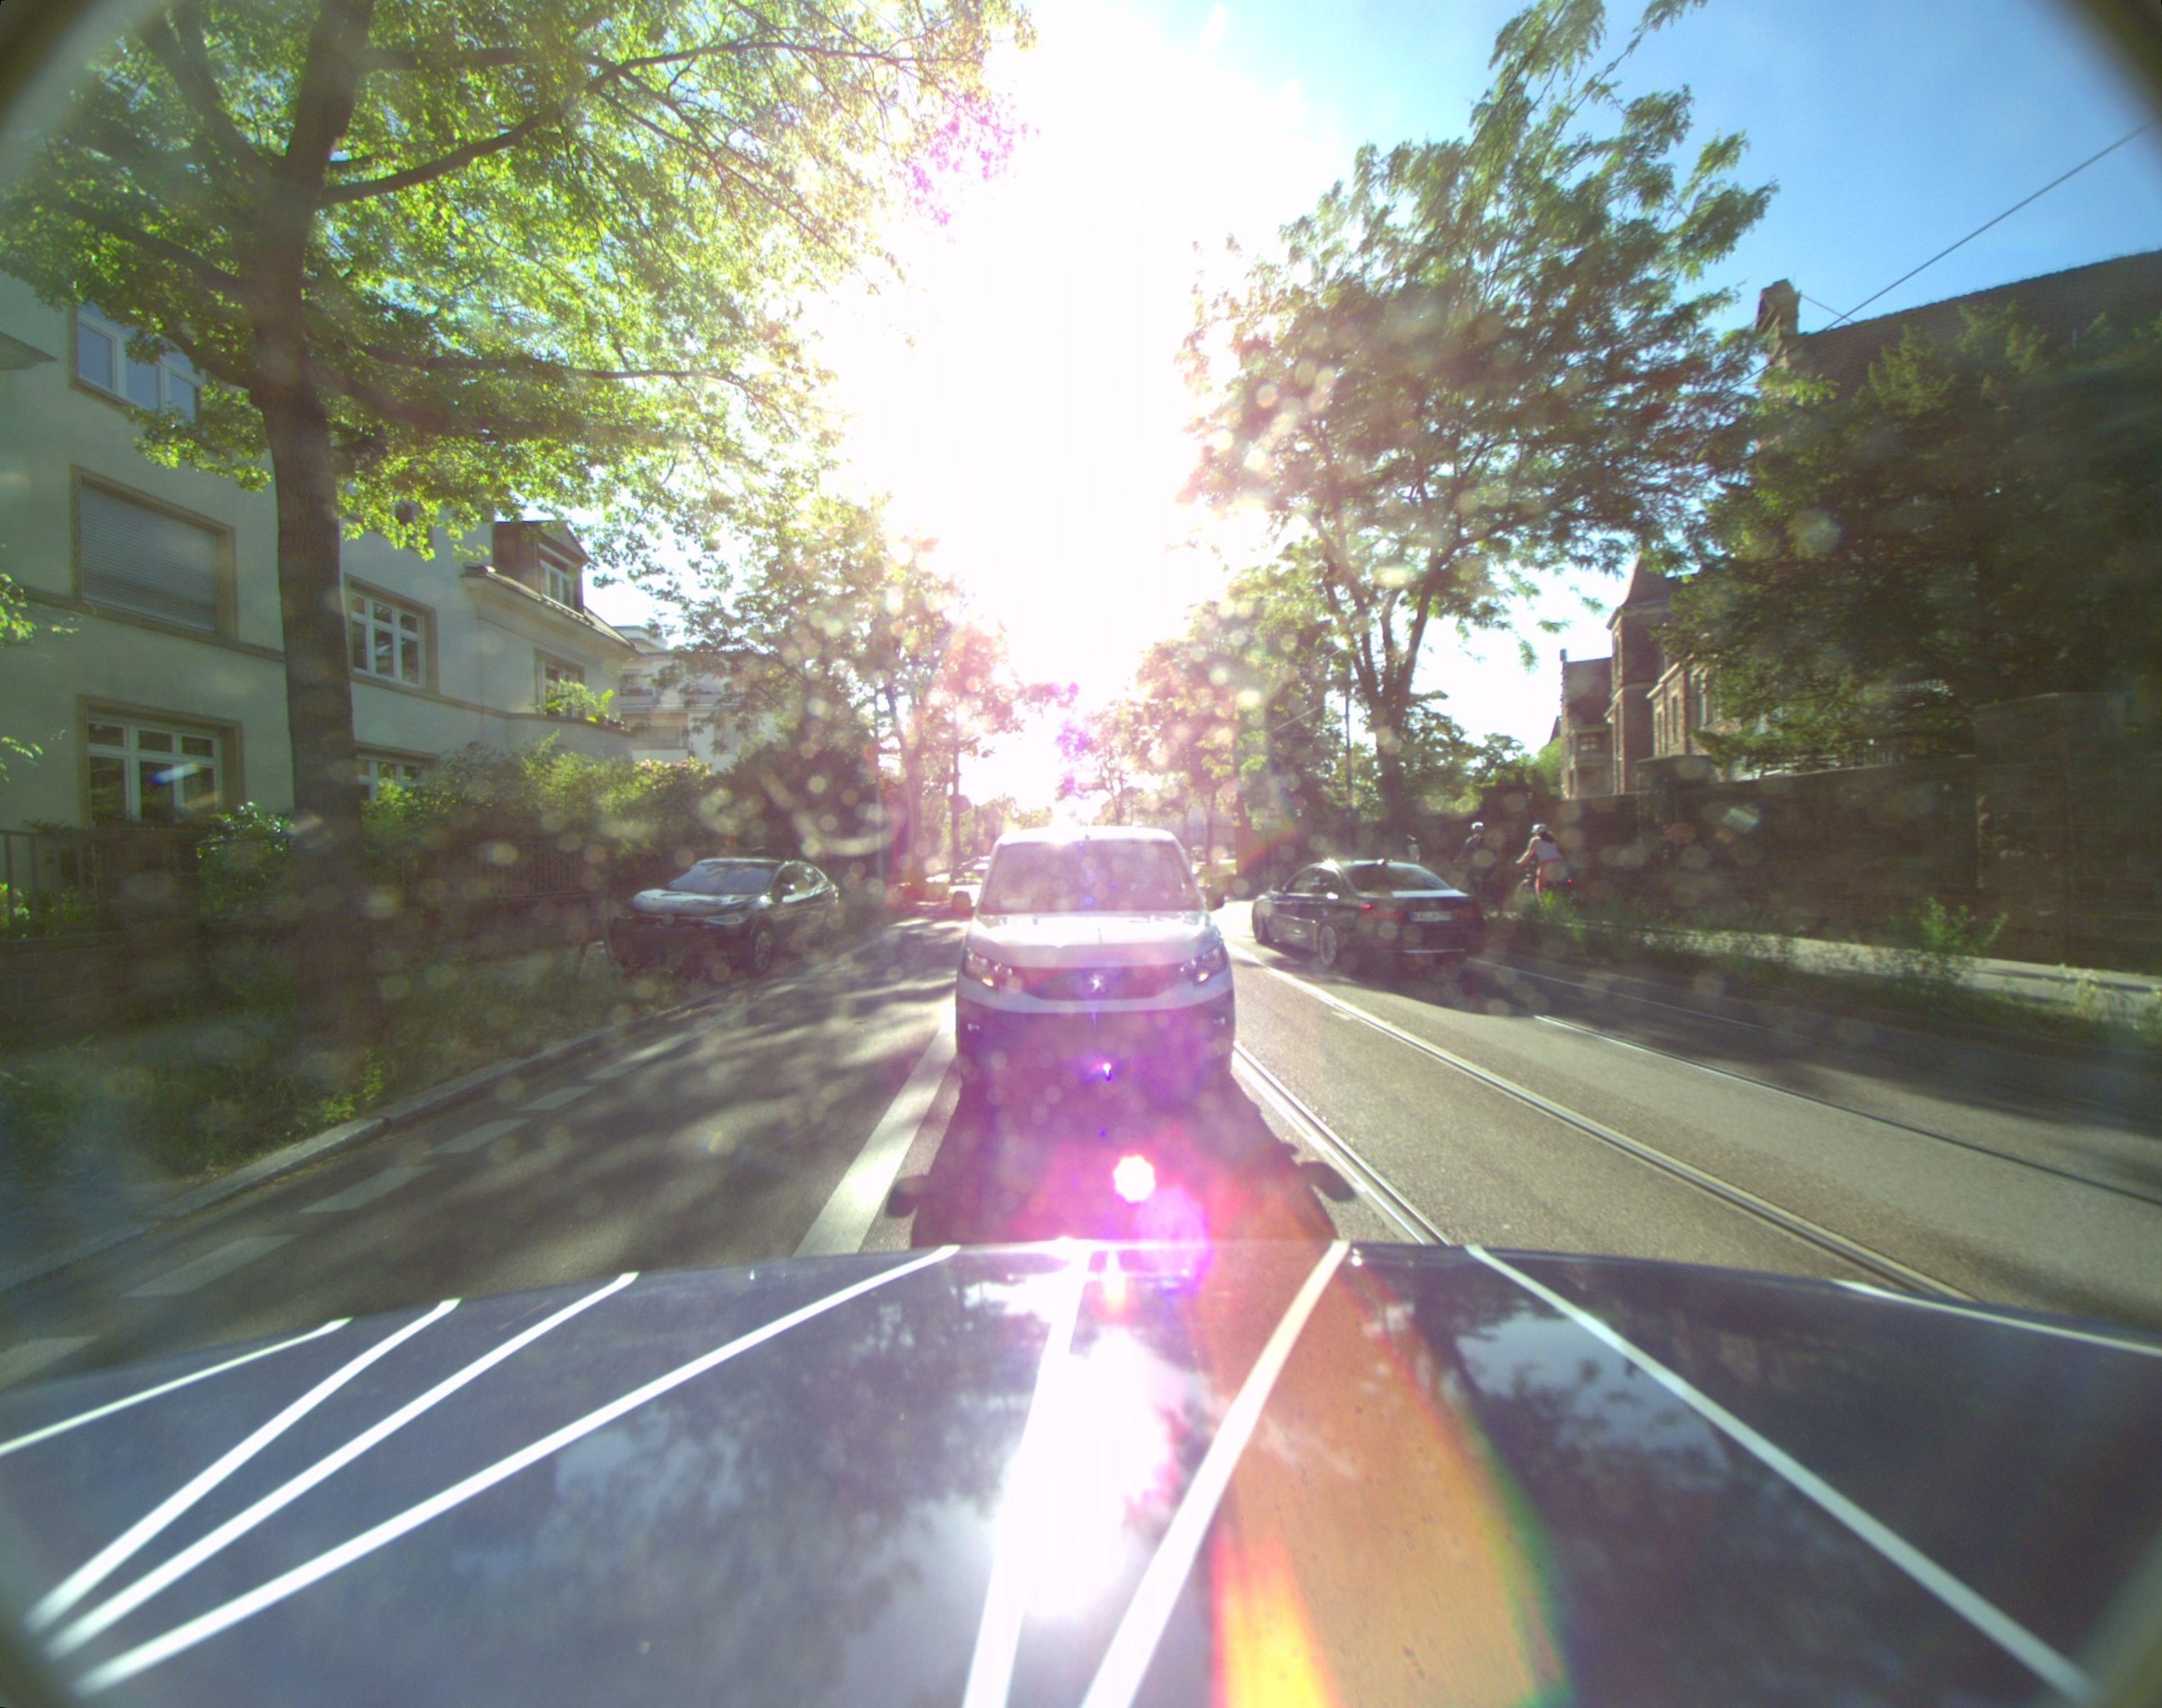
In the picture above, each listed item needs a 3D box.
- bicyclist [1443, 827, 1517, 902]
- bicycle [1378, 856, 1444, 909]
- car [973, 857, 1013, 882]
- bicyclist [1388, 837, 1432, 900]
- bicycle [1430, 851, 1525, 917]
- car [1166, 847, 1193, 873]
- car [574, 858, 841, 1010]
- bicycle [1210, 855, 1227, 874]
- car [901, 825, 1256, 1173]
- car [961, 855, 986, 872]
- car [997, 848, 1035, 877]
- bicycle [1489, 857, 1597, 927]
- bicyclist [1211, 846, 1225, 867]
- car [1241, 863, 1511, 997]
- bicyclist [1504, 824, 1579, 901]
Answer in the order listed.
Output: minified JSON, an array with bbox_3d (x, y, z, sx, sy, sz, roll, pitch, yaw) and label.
[{"bbox_3d":[7.798,0.187,14.917,0.768,1.383,1.272,-2,1,1],"label":"bicyclist"},{"bbox_3d":[8.275,0.684,19.160,0.747,1.184,2.088,-2,1,1],"label":"bicycle"},{"bbox_3d":[-5.173,0.879,45.305,1.719,1.332,3.918,-2,1,3],"label":"car"},{"bbox_3d":[8.256,0.360,19.105,0.744,1.526,0.751,-2,1,1],"label":"bicyclist"},{"bbox_3d":[7.811,0.548,15.100,0.774,1.184,2.102,-2,1,1],"label":"bicycle"},{"bbox_3d":[7.305,0.403,56.182,1.830,1.800,4.002,-1,1,9],"label":"car"},{"bbox_3d":[-5.269,1.001,11.483,1.999,1.733,4.169,-2,1,-2],"label":"car"},{"bbox_3d":[8.391,0.612,46.434,0.684,1.072,1.736,-2,1,1],"label":"bicycle"},{"bbox_3d":[-0.044,0.745,6.183,1.832,1.788,4.333,-2,1,-1],"label":"car"},{"bbox_3d":[-9.988,0.863,70.810,1.741,1.434,3.999,-2,1,1],"label":"car"},{"bbox_3d":[-4.388,0.520,51.672,1.904,1.819,4.248,-2,1,3],"label":"car"},{"bbox_3d":[8.755,0.683,14.518,0.733,1.184,2.087,-2,1,-1],"label":"bicycle"},{"bbox_3d":[8.371,0.136,46.560,0.684,1.277,0.871,-2,1,1],"label":"bicyclist"},{"bbox_3d":[3.869,0.897,10.880,1.741,1.414,4.257,-2,0,-8],"label":"car"},{"bbox_3d":[8.735,0.151,14.447,0.734,1.383,1.060,-2,1,-1],"label":"bicyclist"}]
